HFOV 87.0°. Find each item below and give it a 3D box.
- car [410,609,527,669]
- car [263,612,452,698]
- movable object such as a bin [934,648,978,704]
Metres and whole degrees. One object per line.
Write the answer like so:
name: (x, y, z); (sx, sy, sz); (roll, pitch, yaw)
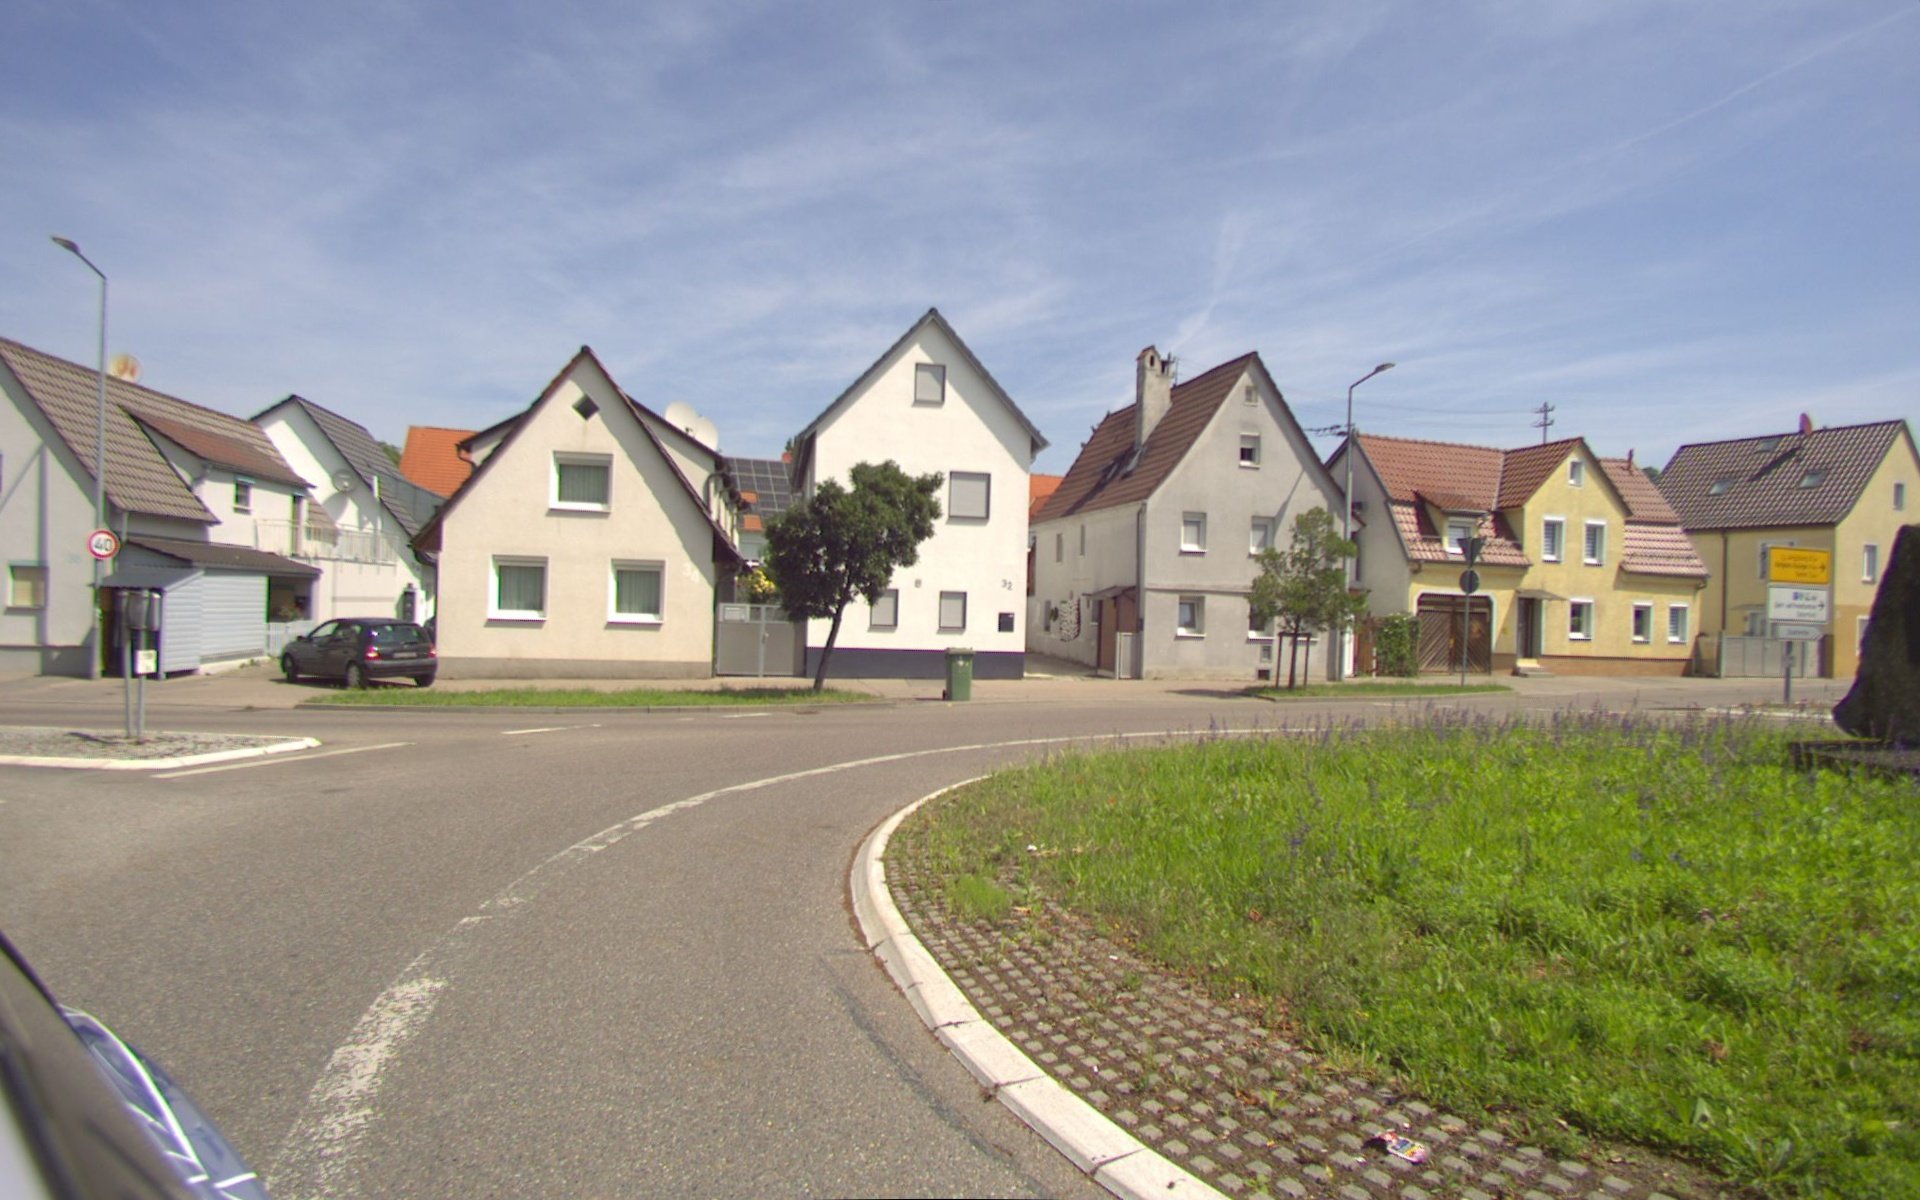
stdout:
car: (-14.410, 1.134, 29.896); (1.968, 1.657, 3.877); (1, -2, -8)
car: (-12.696, 1.080, 21.297); (3.831, 1.452, 1.761); (3, 2, 29)
movable object such as a bin: (-0.083, 1.508, 20.230); (0.569, 1.056, 0.906); (1, -2, -22)
